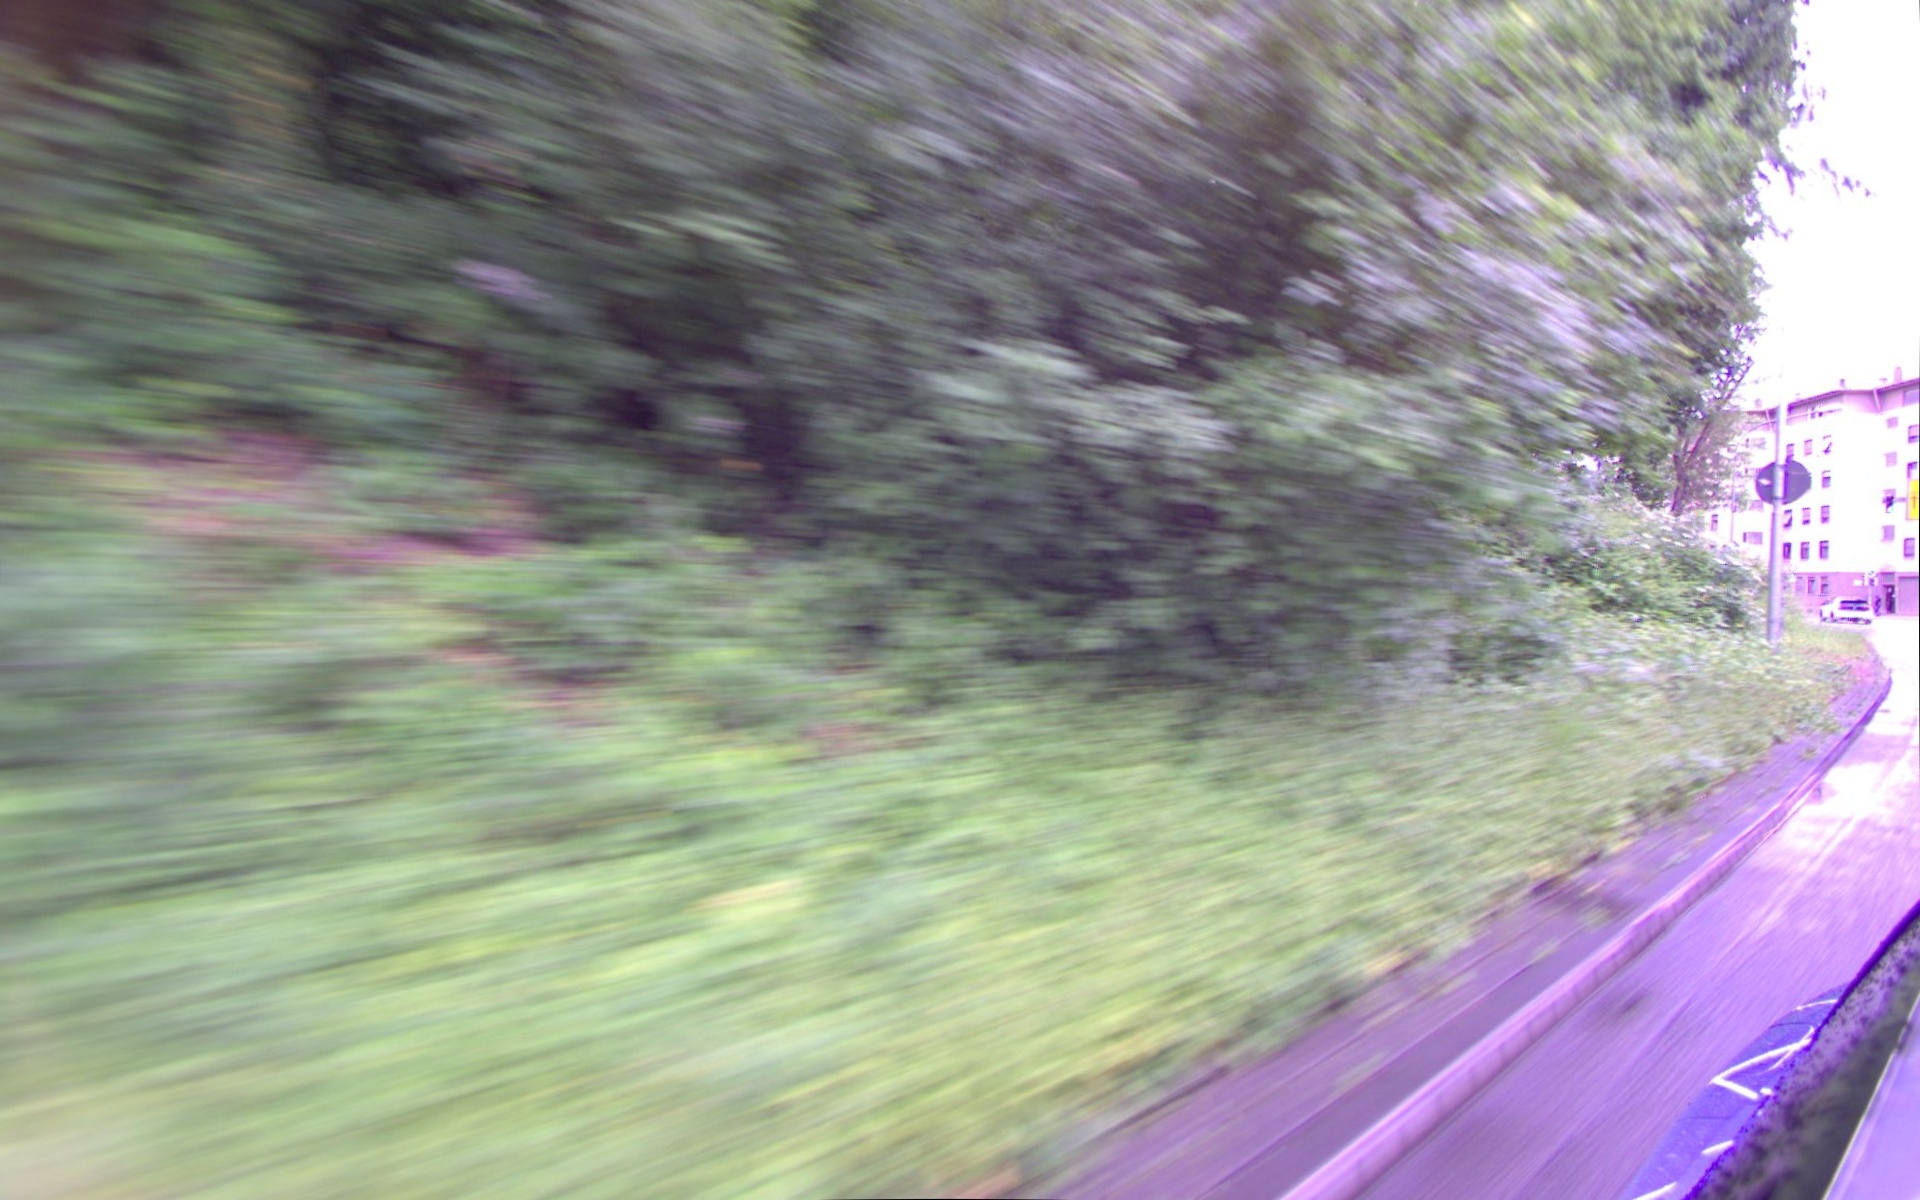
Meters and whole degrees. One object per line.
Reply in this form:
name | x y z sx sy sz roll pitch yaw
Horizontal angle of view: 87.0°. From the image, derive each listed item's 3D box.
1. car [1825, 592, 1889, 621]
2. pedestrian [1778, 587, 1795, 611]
car | 51.991 0.335 58.731 1.774 1.514 4.175 3 2 28
pedestrian | 69.375 -0.072 84.955 0.798 2.039 0.855 0 -1 12
